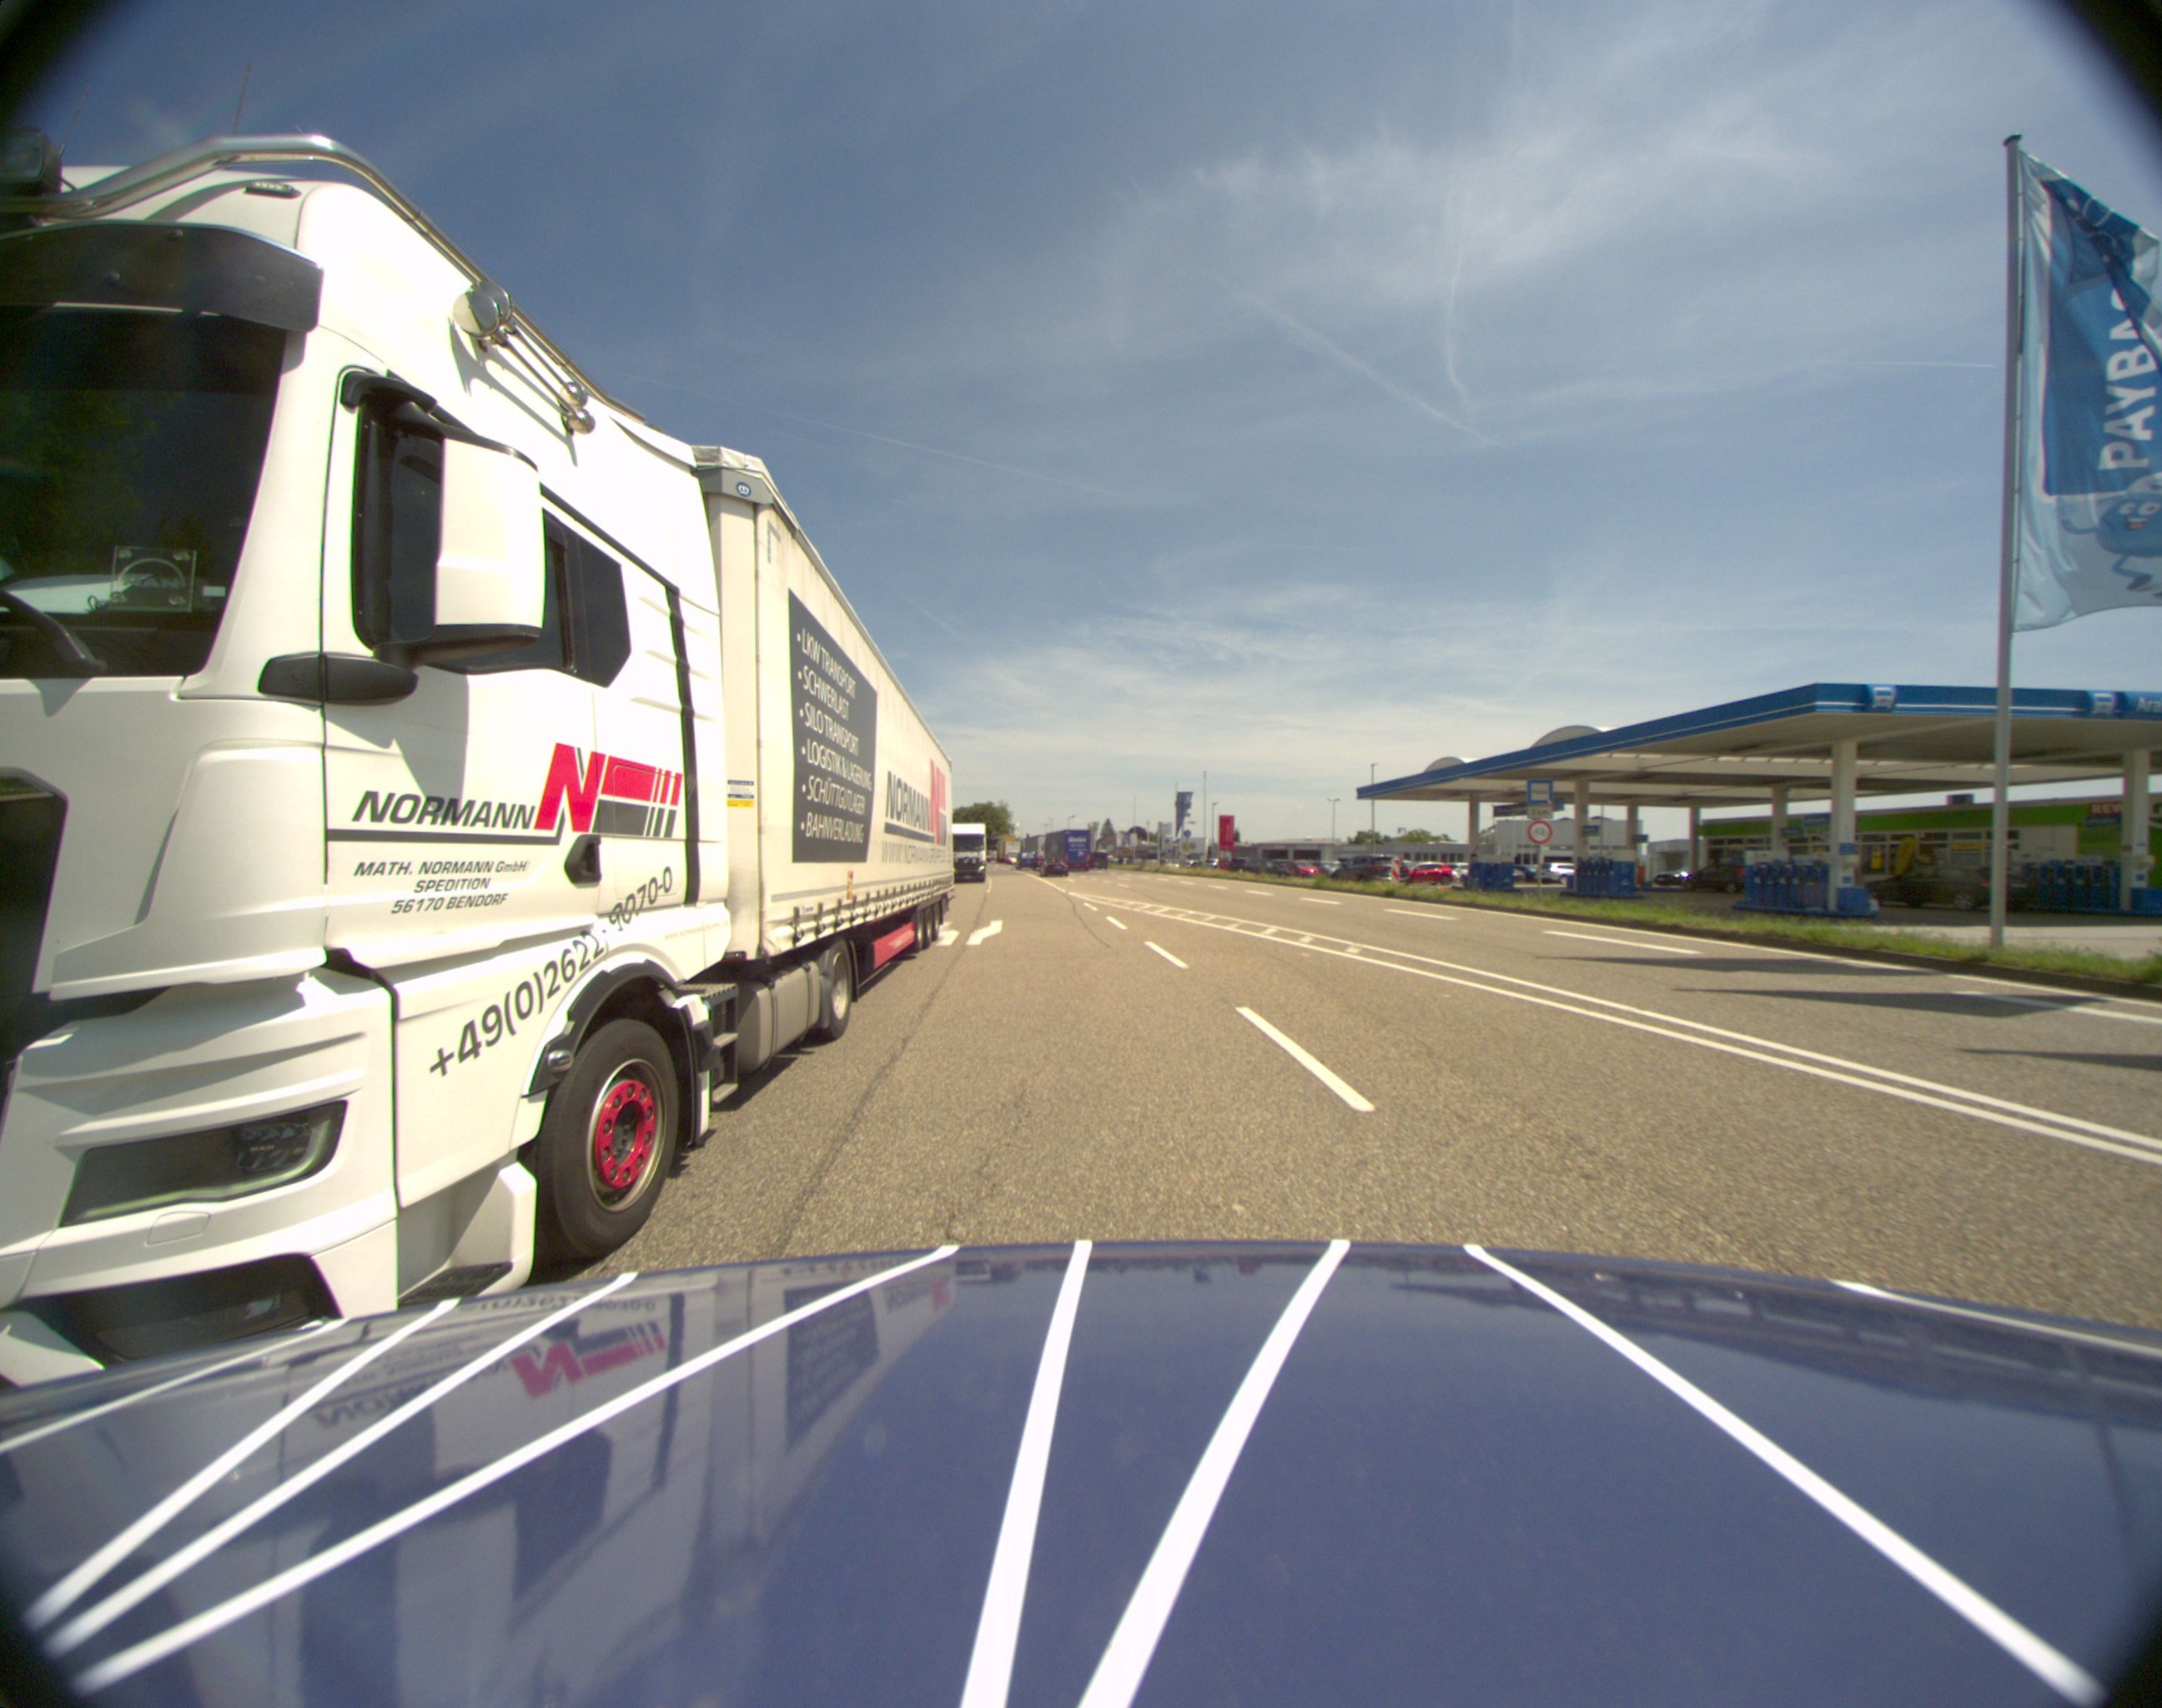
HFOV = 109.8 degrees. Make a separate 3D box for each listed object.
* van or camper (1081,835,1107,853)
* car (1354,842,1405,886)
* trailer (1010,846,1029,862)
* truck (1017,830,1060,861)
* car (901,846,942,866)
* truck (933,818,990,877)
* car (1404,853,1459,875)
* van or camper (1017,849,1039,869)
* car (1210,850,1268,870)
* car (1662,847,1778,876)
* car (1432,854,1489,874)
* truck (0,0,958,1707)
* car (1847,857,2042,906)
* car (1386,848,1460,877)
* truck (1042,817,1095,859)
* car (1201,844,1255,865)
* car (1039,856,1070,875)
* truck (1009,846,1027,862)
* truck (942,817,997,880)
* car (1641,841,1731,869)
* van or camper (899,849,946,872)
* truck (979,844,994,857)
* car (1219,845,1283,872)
[{"bbox_3d":[1.384,-1.080,83.388,2.000,1.924,5.378,0,0,-8],"label":"van or camper"},{"bbox_3d":[12.522,0.371,32.081,1.830,1.709,4.576,1,0,19],"label":"car"},{"bbox_3d":[-9.843,0.010,121.479,2.436,2.325,6.890,2,0,-9],"label":"trailer"},{"bbox_3d":[-5.906,-1.207,101.636,2.800,3.867,16.458,-1,1,-14],"label":"truck"},{"bbox_3d":[-14.621,0.176,69.638,3.540,1.469,1.830,6,0,-13],"label":"car"},{"bbox_3d":[-9.577,-0.497,59.268,2.985,3.987,14.102,1,0,-15],"label":"truck"},{"bbox_3d":[25.465,0.694,55.315,1.712,1.526,3.997,0,0,-8],"label":"car"},{"bbox_3d":[-5.878,0.502,83.696,1.843,2.125,5.337,-1,0,-10],"label":"van or camper"},{"bbox_3d":[11.686,0.438,56.316,4.006,1.477,1.815,0,0,-30],"label":"car"},{"bbox_3d":[31.831,0.360,38.061,1.999,1.370,4.381,0,0,-3],"label":"car"},{"bbox_3d":[27.709,0.711,55.606,1.712,1.388,3.997,0,0,-8],"label":"car"},{"bbox_3d":[-3.739,-0.379,9.944,2.982,4.070,17.622,-2,1,-6],"label":"truck"},{"bbox_3d":[27.933,0.833,24.813,1.606,1.469,4.106,0,0,-2],"label":"car"},{"bbox_3d":[22.718,0.564,50.519,3.998,1.892,1.999,0,0,-4],"label":"car"},{"bbox_3d":[-1.563,-1.487,79.321,2.854,3.866,16.989,0,0,-10],"label":"truck"},{"bbox_3d":[11.449,0.060,59.053,4.190,1.577,1.777,0,0,-37],"label":"car"},{"bbox_3d":[-2.098,0.852,58.982,1.854,1.264,4.172,-3,1,-10],"label":"car"},{"bbox_3d":[-10.366,-0.022,124.841,2.433,2.327,5.669,2,0,-9],"label":"truck"},{"bbox_3d":[-7.778,-0.366,52.429,2.985,3.987,6.318,1,0,-15],"label":"truck"},{"bbox_3d":[36.668,0.040,46.125,3.999,1.630,1.947,0,0,-5],"label":"car"},{"bbox_3d":[-19.409,0.789,93.252,5.494,2.714,2.230,0,1,-10],"label":"van or camper"},{"bbox_3d":[-18.121,-0.656,145.845,2.404,2.431,6.864,-1,1,-10],"label":"truck"},{"bbox_3d":[11.331,0.271,50.492,4.007,1.695,1.838,0,1,-32],"label":"car"}]
